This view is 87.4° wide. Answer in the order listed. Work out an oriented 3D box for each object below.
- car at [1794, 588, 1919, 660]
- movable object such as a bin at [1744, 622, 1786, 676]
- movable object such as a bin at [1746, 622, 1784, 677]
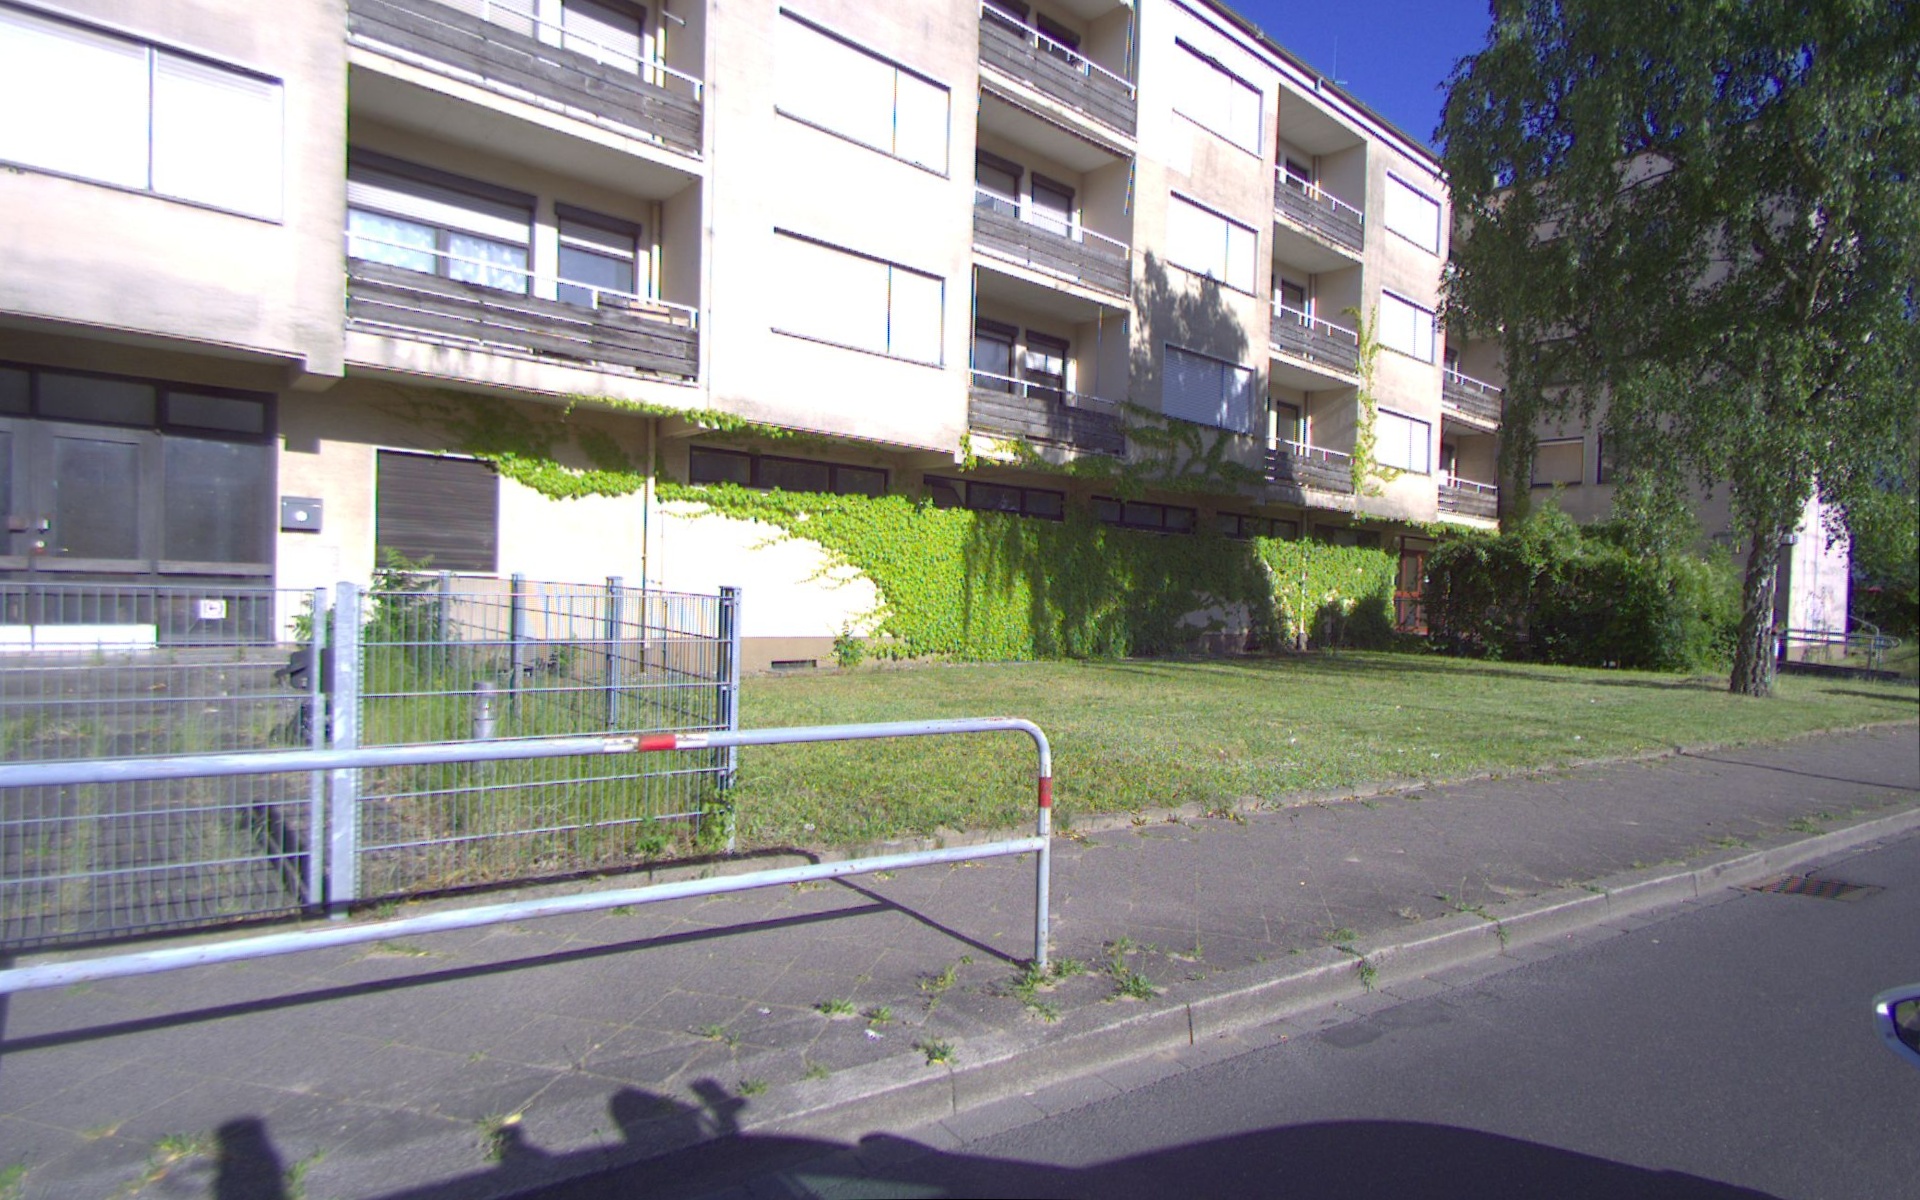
[{"bbox_3d":[33.371,0.803,35.301,2.186,2.461,5.878,0,1,-29],"label":"car"},{"bbox_3d":[16.674,0.998,20.811,0.618,1.062,0.700,2,1,37],"label":"movable object such as a bin"},{"bbox_3d":[16.270,0.993,20.314,0.556,1.067,0.555,2,1,38],"label":"movable object such as a bin"}]
